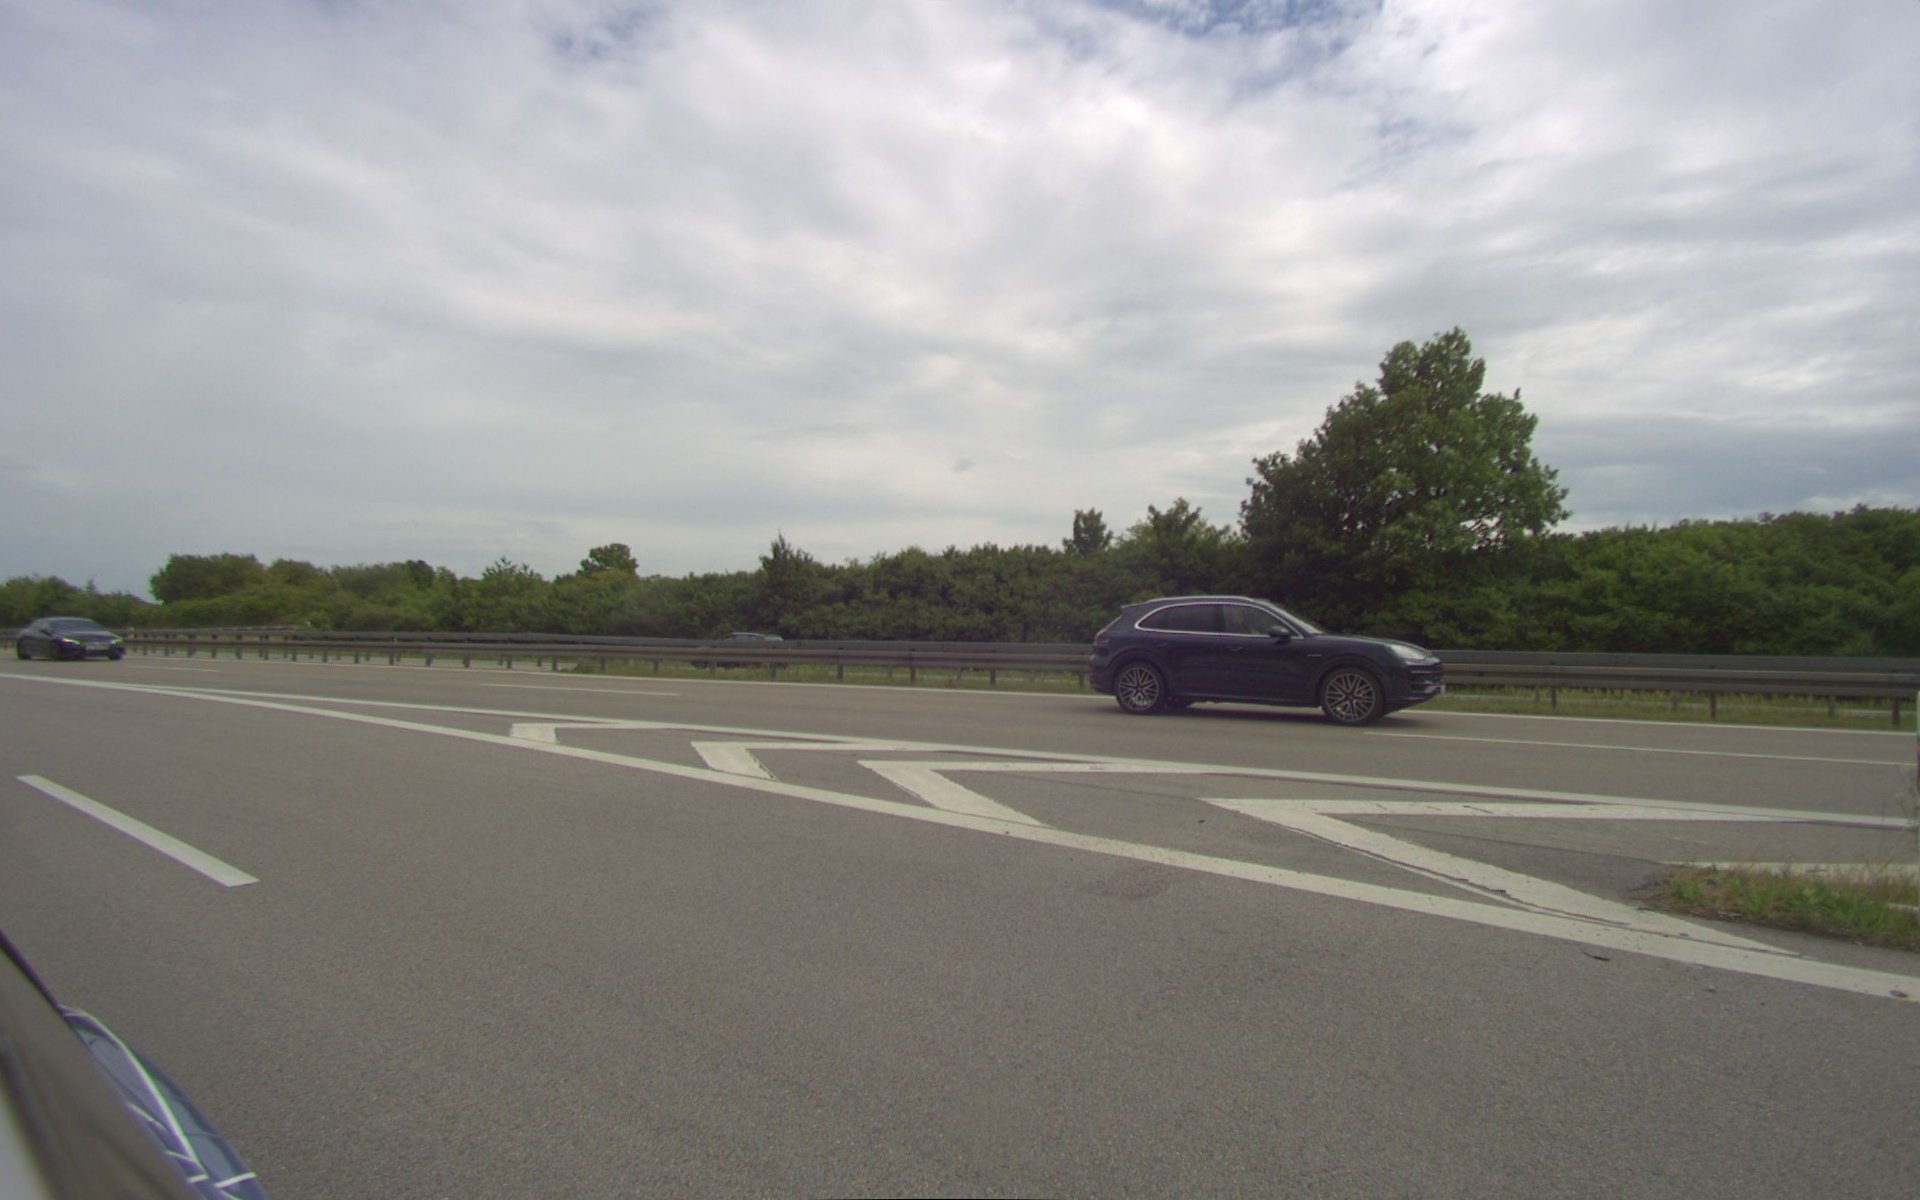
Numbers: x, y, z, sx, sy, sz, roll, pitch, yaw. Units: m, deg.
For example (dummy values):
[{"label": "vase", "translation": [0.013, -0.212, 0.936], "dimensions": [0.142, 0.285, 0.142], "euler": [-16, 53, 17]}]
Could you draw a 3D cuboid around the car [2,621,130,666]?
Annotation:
[{"label": "car", "translation": [-31.766, 1.518, 35.943], "dimensions": [4.759, 1.521, 1.980], "euler": [-1, -2, 30]}]

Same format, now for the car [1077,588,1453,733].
[{"label": "car", "translation": [4.269, 0.801, 14.446], "dimensions": [4.812, 1.756, 1.978], "euler": [-1, -3, 32]}]

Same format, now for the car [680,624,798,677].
[{"label": "car", "translation": [-8.105, 1.808, 37.112], "dimensions": [3.986, 1.816, 1.979], "euler": [-1, -2, 32]}]
